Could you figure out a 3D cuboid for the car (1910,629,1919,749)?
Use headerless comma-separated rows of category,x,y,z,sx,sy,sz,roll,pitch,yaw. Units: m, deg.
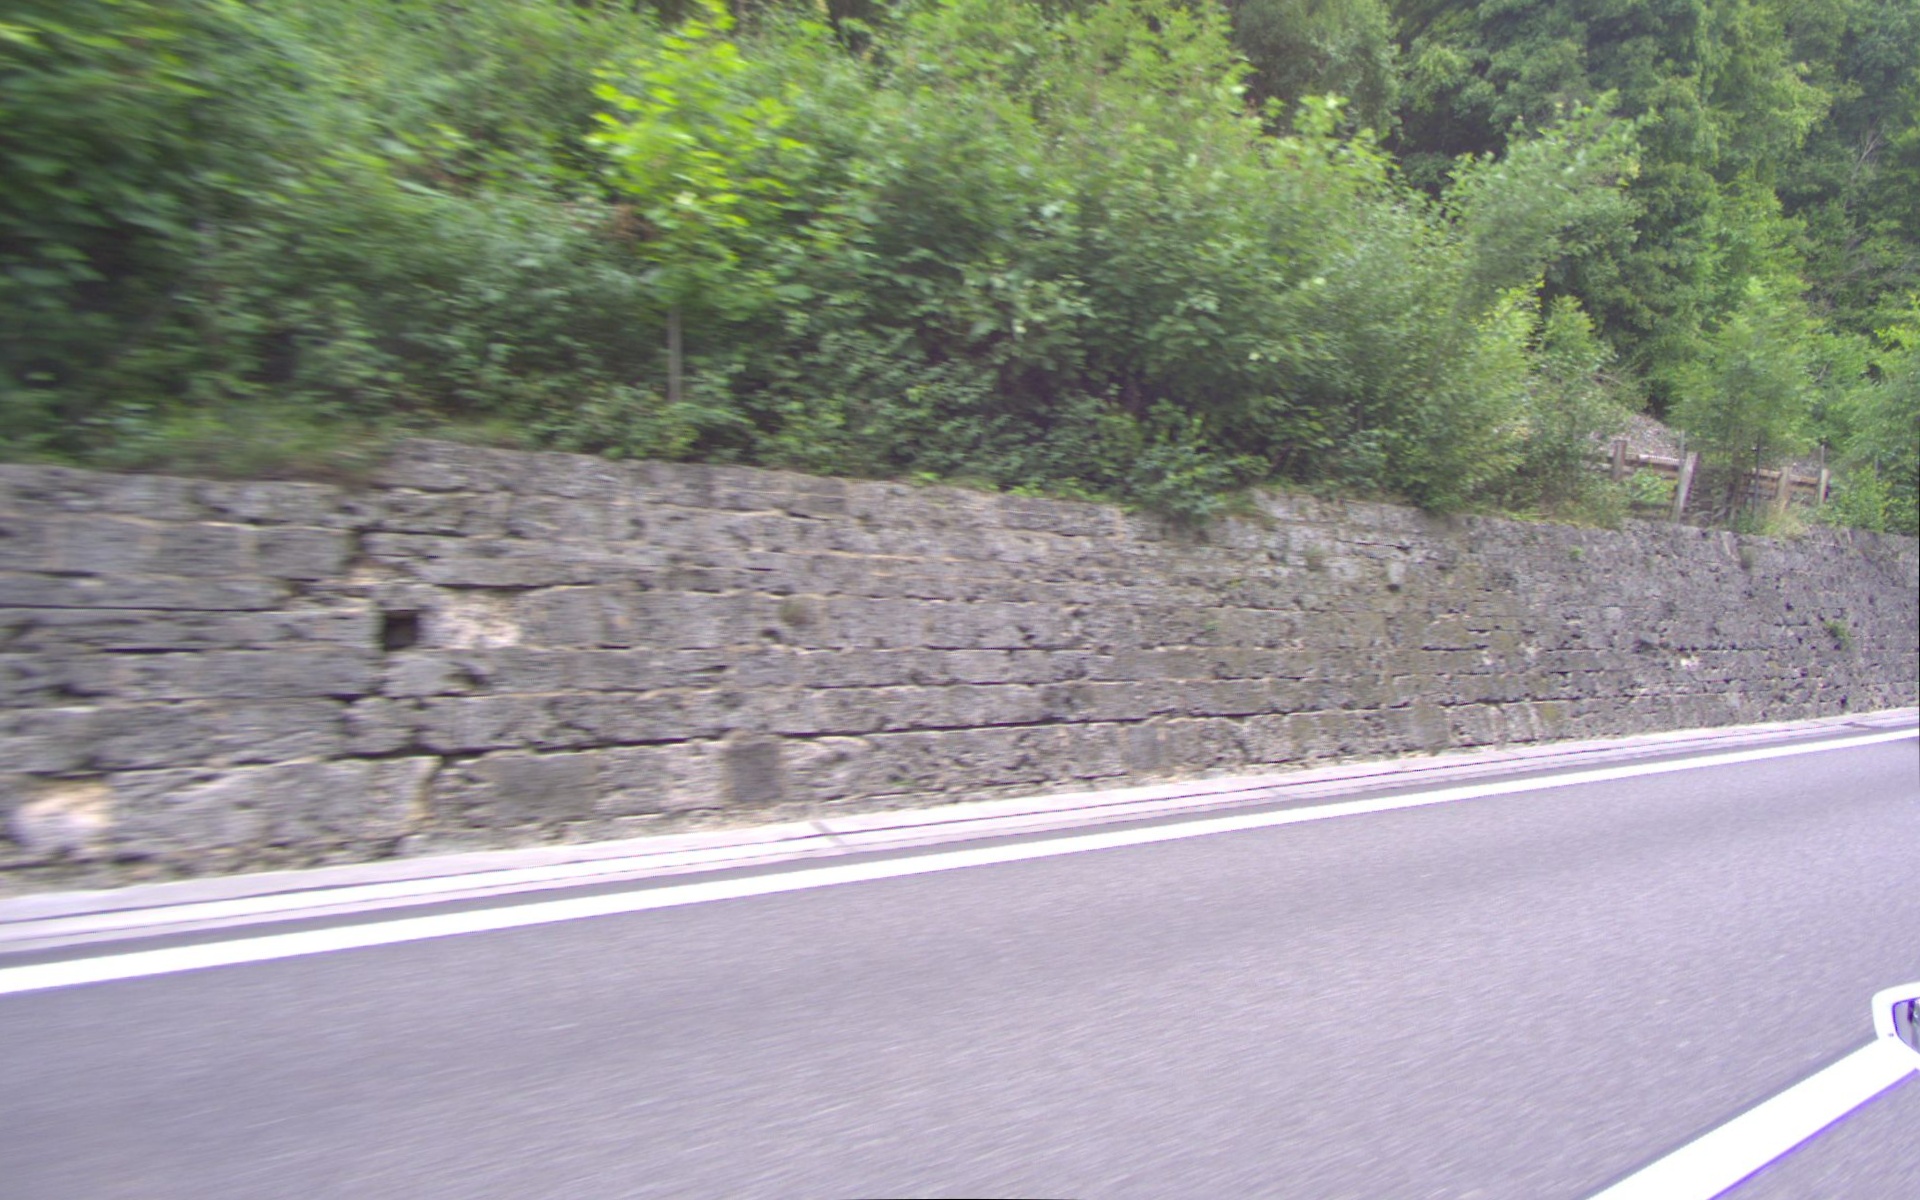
car,14.472,1.161,13.085,5.064,1.483,1.751,1,0,-31
